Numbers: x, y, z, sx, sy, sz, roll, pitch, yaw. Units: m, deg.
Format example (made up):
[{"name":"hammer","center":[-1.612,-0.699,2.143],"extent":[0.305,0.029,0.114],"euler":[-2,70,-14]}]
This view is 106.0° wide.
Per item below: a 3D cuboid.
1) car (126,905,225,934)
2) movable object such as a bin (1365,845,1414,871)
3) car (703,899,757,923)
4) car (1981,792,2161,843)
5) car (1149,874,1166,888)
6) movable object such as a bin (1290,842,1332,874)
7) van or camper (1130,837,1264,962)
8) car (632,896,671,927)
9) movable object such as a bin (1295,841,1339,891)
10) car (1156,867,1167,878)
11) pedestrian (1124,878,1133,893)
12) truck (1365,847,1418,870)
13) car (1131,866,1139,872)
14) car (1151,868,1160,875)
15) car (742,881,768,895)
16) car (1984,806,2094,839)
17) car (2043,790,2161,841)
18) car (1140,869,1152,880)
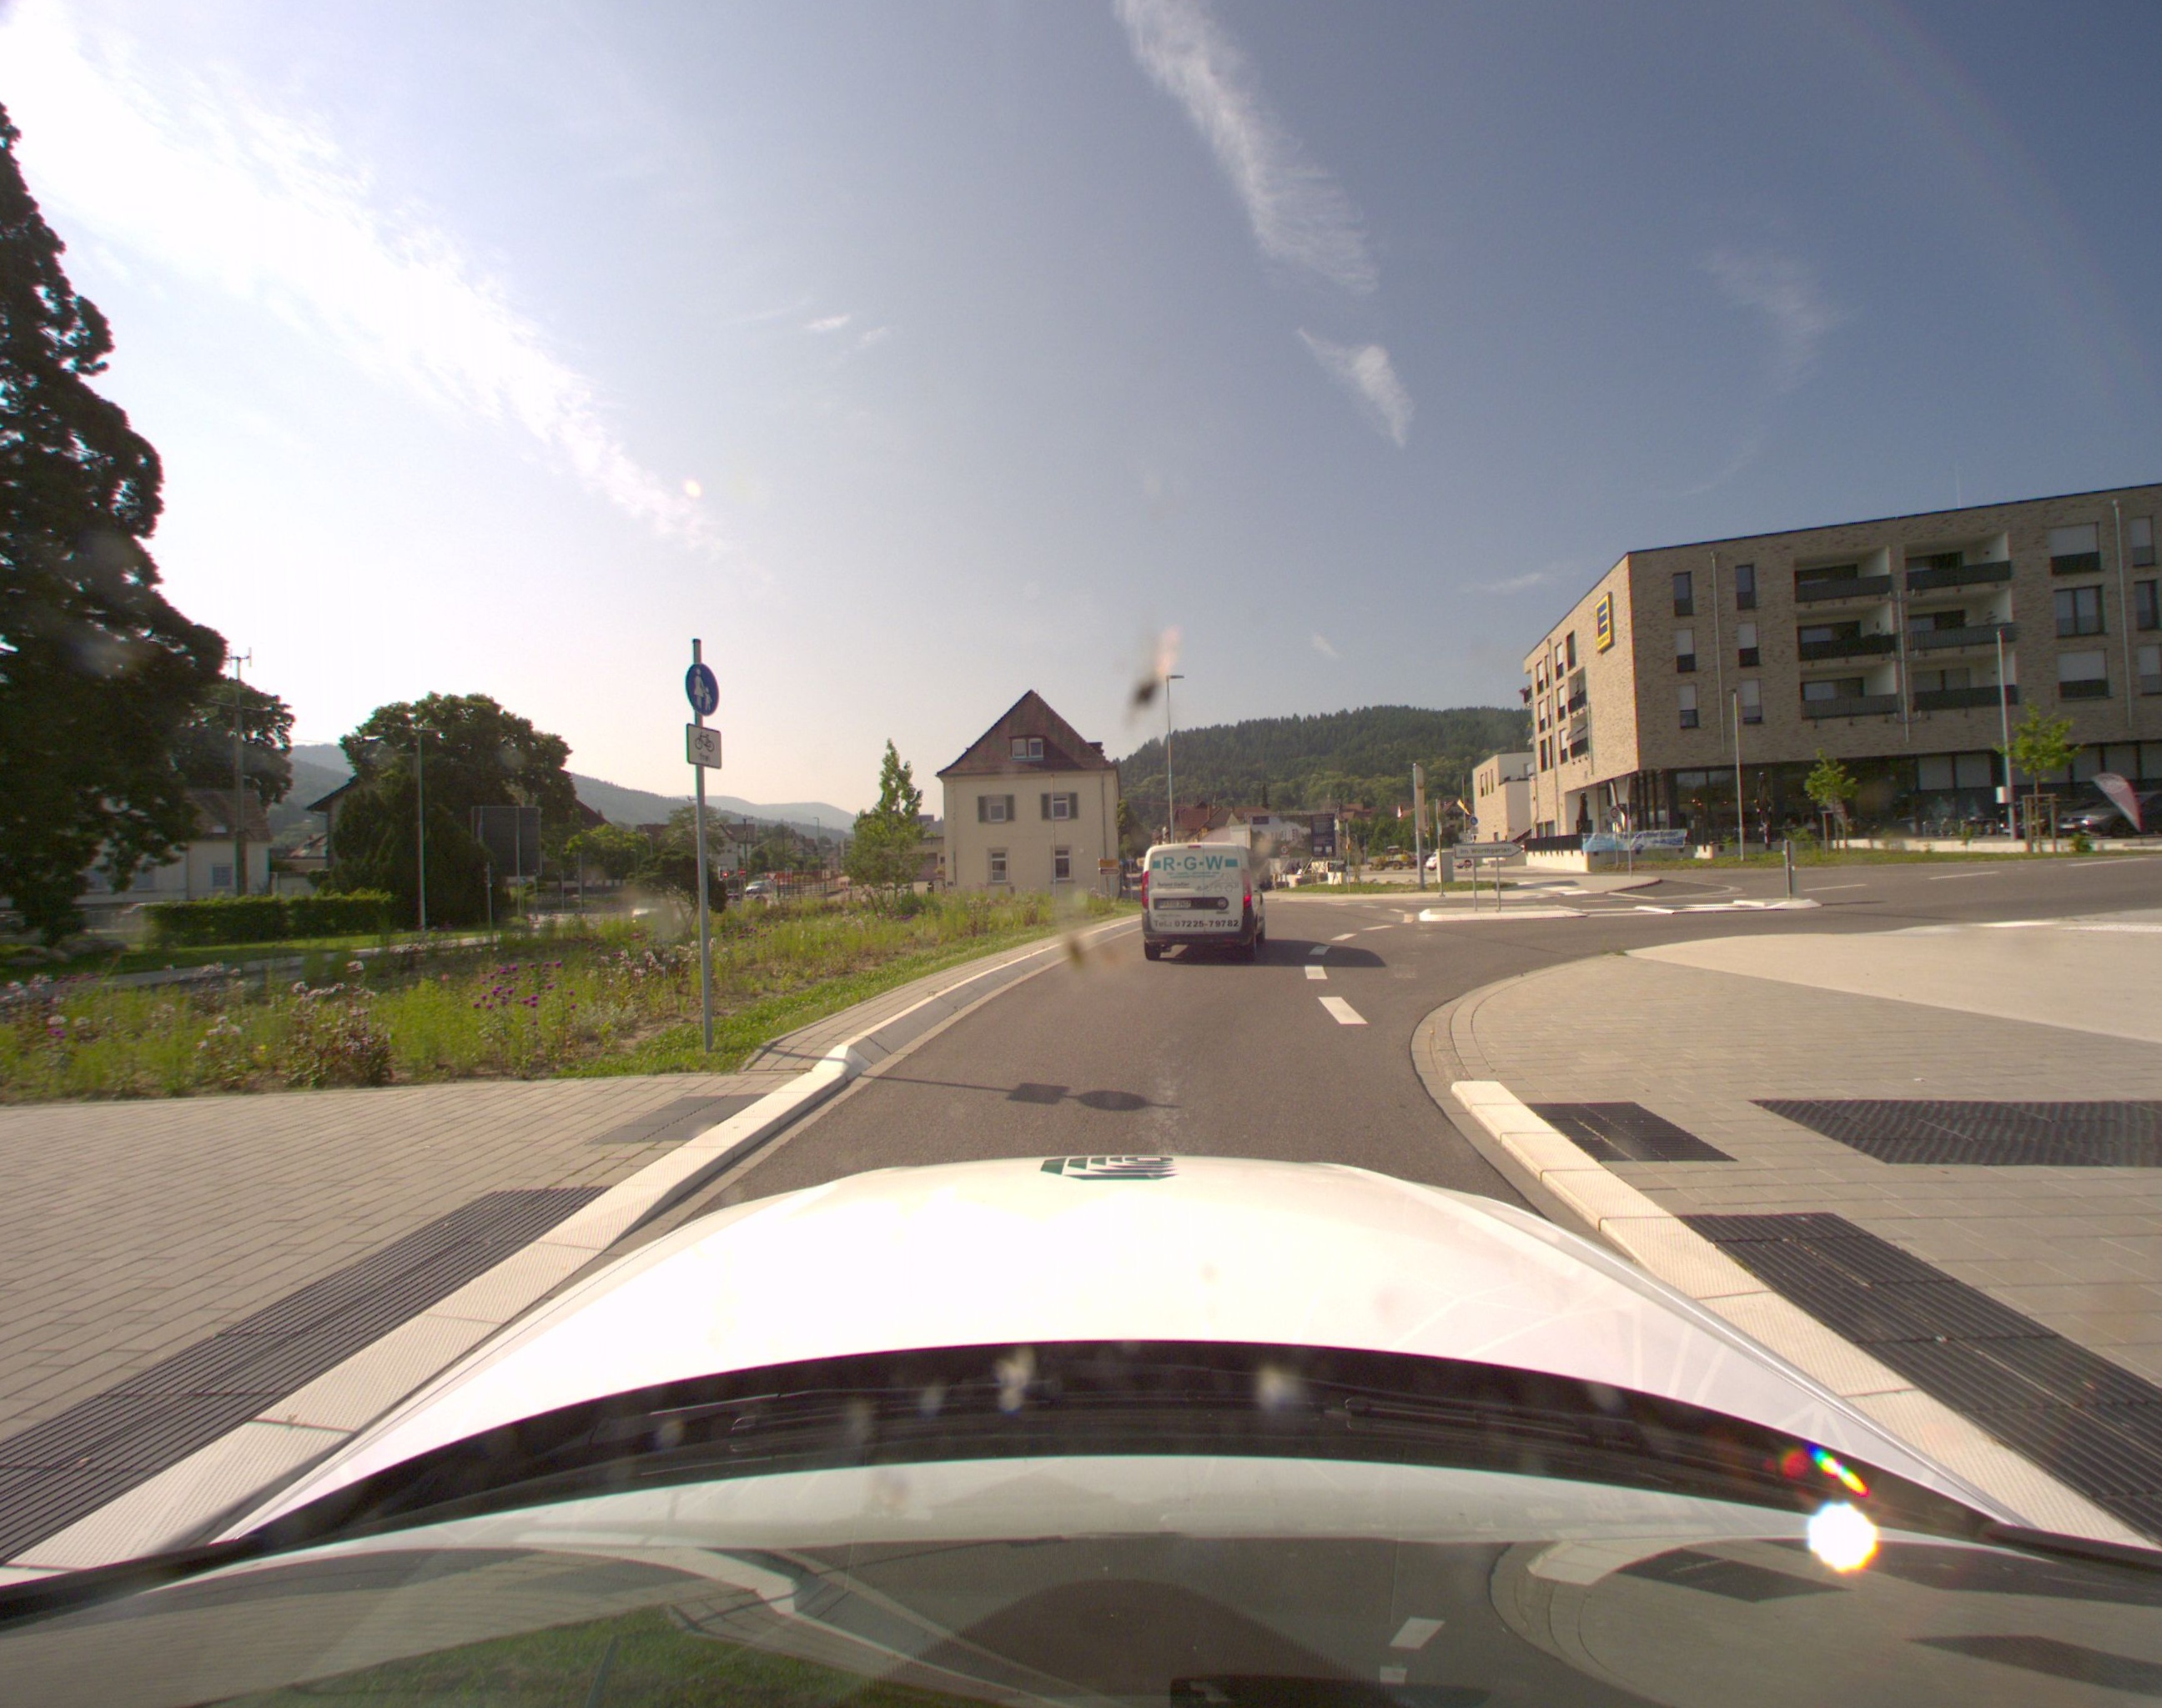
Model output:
[{"name":"car","center":[-54.122,3.873,48.733],"extent":[1.586,1.495,3.673],"euler":[0,-2,31]},{"name":"movable object such as a bin","center":[33.876,0.427,89.455],"extent":[4.568,2.570,1.937],"euler":[-4,-2,28]},{"name":"car","center":[-24.244,3.878,56.259],"extent":[3.948,1.398,1.725],"euler":[0,0,37]},{"name":"car","center":[38.736,-1.415,31.828],"extent":[4.412,1.555,1.866],"euler":[-5,1,15]},{"name":"car","center":[9.224,3.239,98.466],"extent":[1.804,1.597,3.928],"euler":[0,0,2]},{"name":"movable object such as a bin","center":[26.842,0.423,94.893],"extent":[2.822,3.622,5.772],"euler":[0,0,37]},{"name":"van or camper","center":[2.177,0.736,14.243],"extent":[1.815,1.845,4.204],"euler":[-2,-2,14]},{"name":"car","center":[-24.000,3.162,45.583],"extent":[1.678,1.531,3.966],"euler":[-2,-1,-25]},{"name":"movable object such as a bin","center":[19.397,1.016,67.299],"extent":[2.283,3.854,7.812],"euler":[0,-1,7]},{"name":"car","center":[16.009,3.642,161.451],"extent":[1.864,2.014,4.002],"euler":[-1,-1,2]},{"name":"pedestrian","center":[5.175,3.402,89.081],"extent":[0.954,1.631,0.758],"euler":[-1,-2,2]},{"name":"truck","center":[35.365,0.538,92.725],"extent":[5.264,2.266,2.232],"euler":[-5,-2,28]},{"name":"car","center":[13.633,3.748,206.082],"extent":[1.804,1.597,3.926],"euler":[0,0,0]},{"name":"car","center":[16.294,3.813,177.770],"extent":[1.664,1.508,4.000],"euler":[-3,-1,1]},{"name":"car","center":[-37.075,3.833,92.704],"extent":[1.706,1.398,3.992],"euler":[0,0,-5]},{"name":"car","center":[42.894,-1.375,36.557],"extent":[1.476,1.351,3.343],"euler":[0,0,12]},{"name":"car","center":[37.695,-1.427,28.795],"extent":[4.412,1.555,1.866],"euler":[-5,1,15]},{"name":"car","center":[10.433,3.291,130.705],"extent":[1.804,1.597,3.928],"euler":[0,0,2]}]
